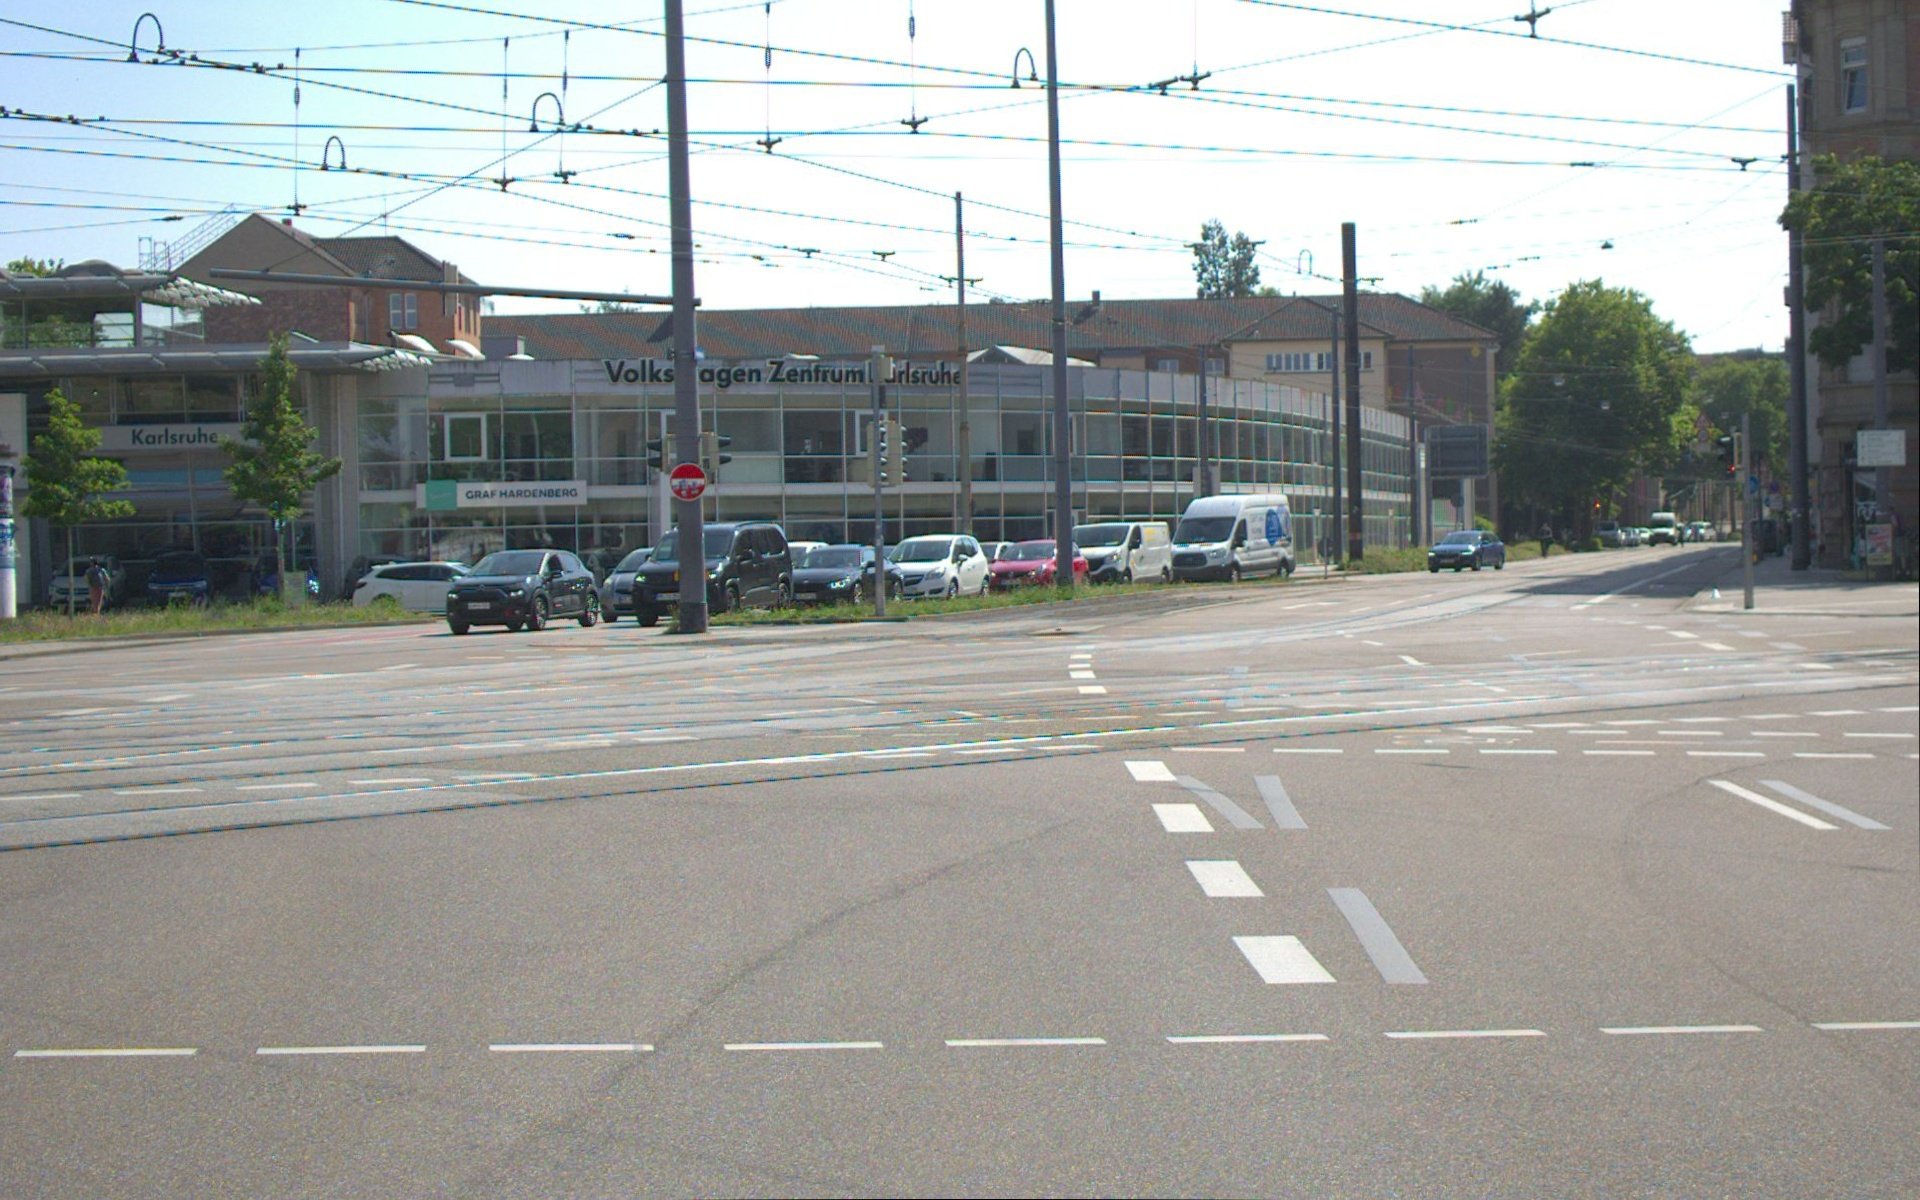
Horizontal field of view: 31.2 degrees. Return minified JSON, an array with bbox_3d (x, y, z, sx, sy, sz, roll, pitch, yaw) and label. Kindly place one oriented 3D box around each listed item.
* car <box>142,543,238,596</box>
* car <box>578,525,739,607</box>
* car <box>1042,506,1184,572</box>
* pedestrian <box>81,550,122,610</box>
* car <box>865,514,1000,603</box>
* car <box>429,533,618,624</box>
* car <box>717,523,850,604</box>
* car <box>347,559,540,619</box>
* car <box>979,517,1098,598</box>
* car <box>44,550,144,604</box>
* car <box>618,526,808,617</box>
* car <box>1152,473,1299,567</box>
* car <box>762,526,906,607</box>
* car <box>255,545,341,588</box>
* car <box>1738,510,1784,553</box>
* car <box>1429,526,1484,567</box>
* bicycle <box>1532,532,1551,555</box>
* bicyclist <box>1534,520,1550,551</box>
[{"bbox_3d":[-22.260,-0.890,99.507,1.993,1.481,4.000,1,1,-2],"label":"car"},{"bbox_3d":[-6.103,-0.669,69.994,1.896,1.582,3.997,-1,0,17],"label":"car"},{"bbox_3d":[4.123,-1.642,91.733,2.188,1.675,5.024,-1,1,22],"label":"car"},{"bbox_3d":[-22.657,-0.533,90.780,0.953,1.574,0.534,1,0,-4],"label":"pedestrian"},{"bbox_3d":[-0.587,-0.915,77.655,1.896,1.910,4.197,-1,0,16],"label":"car"},{"bbox_3d":[-7.975,-0.390,63.177,1.893,1.582,4.207,-1,0,17],"label":"car"},{"bbox_3d":[-3.910,-0.809,76.891,1.652,1.733,4.197,-1,0,16],"label":"car"},{"bbox_3d":[-13.007,-0.288,86.610,4.587,1.431,1.443,1,0,13],"label":"car"},{"bbox_3d":[1.960,-1.029,84.561,1.896,1.910,4.197,-1,0,16],"label":"car"},{"bbox_3d":[-25.046,-0.682,99.527,1.993,1.481,4.000,2,1,-2],"label":"car"},{"bbox_3d":[-4.528,-0.552,63.769,1.962,1.582,4.712,-1,1,17],"label":"car"},{"bbox_3d":[7.664,-2.277,98.705,2.211,2.566,5.867,1,0,26],"label":"car"},{"bbox_3d":[-2.537,-0.664,70.357,1.895,1.582,3.997,-1,0,14],"label":"car"},{"bbox_3d":[-19.066,-0.962,99.129,1.830,1.191,4.000,1,1,-2],"label":"car"},{"bbox_3d":[38.413,-3.295,164.825,2.110,2.007,3.998,-1,1,14],"label":"car"},{"bbox_3d":[17.699,-1.890,122.502,1.385,1.409,3.010,1,0,19],"label":"car"},{"bbox_3d":[30.183,-2.930,178.371,0.752,1.190,2.837,1,0,13],"label":"bicycle"},{"bbox_3d":[30.192,-3.331,178.412,0.752,1.562,1.086,1,0,13],"label":"bicyclist"}]
